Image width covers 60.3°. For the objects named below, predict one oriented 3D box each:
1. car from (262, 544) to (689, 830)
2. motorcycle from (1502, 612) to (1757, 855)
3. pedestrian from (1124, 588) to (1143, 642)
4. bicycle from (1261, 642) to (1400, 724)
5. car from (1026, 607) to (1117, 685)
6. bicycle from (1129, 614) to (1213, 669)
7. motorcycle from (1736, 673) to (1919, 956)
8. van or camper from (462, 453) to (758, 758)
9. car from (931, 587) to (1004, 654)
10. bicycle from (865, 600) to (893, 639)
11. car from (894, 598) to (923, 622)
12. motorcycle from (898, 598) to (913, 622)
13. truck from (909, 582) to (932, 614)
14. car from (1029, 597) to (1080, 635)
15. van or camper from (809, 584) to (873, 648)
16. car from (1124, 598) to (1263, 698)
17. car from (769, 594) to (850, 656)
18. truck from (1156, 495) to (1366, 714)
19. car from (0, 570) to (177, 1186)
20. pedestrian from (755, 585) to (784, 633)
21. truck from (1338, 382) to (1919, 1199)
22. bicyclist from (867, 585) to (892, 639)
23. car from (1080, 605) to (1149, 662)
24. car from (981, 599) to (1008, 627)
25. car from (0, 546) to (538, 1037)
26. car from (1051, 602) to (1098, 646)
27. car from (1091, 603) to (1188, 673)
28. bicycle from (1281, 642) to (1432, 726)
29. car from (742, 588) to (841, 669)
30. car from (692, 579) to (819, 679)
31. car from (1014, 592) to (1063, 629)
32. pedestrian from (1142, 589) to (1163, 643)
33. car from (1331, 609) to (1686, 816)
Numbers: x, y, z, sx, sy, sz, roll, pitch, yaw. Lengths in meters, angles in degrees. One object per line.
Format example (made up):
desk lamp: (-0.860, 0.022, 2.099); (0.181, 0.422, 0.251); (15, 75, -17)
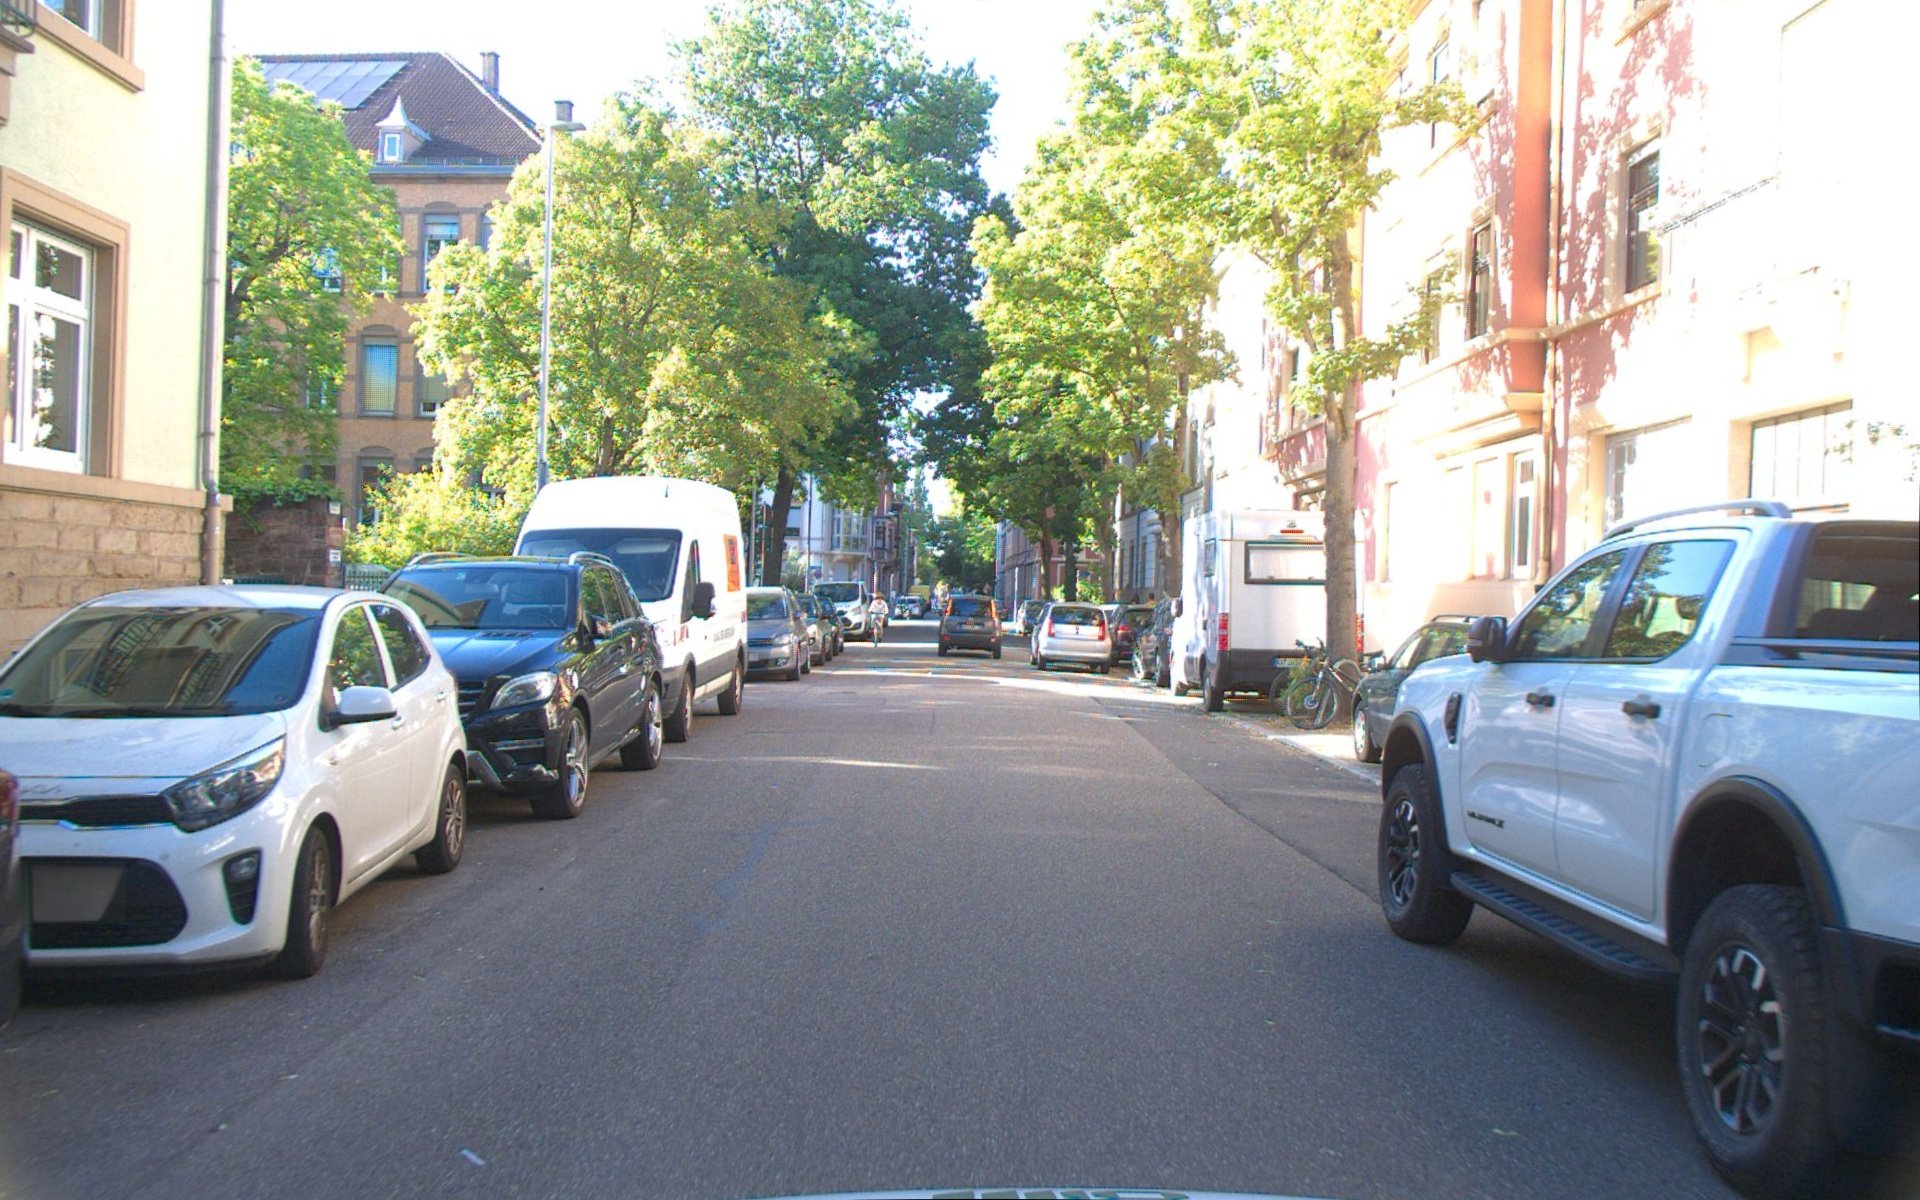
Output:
car: (-3.326, 0.512, 12.462); (1.837, 1.715, 4.968); (0, 0, -1)
motorcycle: (4.673, 0.871, 11.753); (0.911, 1.512, 2.138); (2, 0, 0)
pedestrian: (5.723, 0.484, 54.635); (0.509, 1.765, 0.878); (2, 0, 1)
bicycle: (4.984, 1.112, 22.292); (1.670, 1.017, 0.705); (2, 0, -7)
car: (2.483, 1.002, 37.533); (1.645, 1.571, 3.799); (3, 0, -1)
bicycle: (4.635, 0.900, 36.345); (1.774, 1.187, 0.569); (0, 0, -2)
motorcycle: (4.744, 1.033, 8.482); (1.748, 1.262, 0.692); (2, 0, -40)
van or camper: (-3.595, 0.044, 18.227); (2.085, 2.817, 5.850); (0, 0, -1)
car: (0.150, 0.481, 41.909); (1.600, 1.577, 3.262); (2, 0, -4)
bicycle: (-2.345, 0.558, 47.899); (0.651, 1.096, 1.685); (2, 0, 2)
car: (-3.363, 0.646, 108.571); (1.760, 1.457, 3.925); (-1, 0, 0)
motorcycle: (-3.468, 0.623, 105.273); (0.684, 1.486, 1.747); (1, 0, -10)
truck: (-3.798, -0.161, 161.183); (2.028, 2.977, 5.068); (-2, 0, 0)
car: (3.988, 0.640, 70.384); (1.579, 1.504, 3.866); (2, 0, -5)
van or camper: (-3.974, 0.525, 56.100); (1.883, 2.014, 5.460); (-1, 0, -2)
car: (4.480, 0.869, 32.482); (1.847, 1.746, 4.942); (2, 0, -2)
car: (-3.719, 0.589, 41.574); (1.679, 1.419, 4.778); (-2, 0, -2)
truck: (4.551, 0.051, 26.075); (2.031, 3.020, 6.107); (-1, 0, -1)
car: (-3.255, 0.691, 2.635); (1.730, 1.548, 4.824); (1, 0, -1)
pedestrian: (-6.590, 0.299, 57.120); (0.863, 1.604, 0.529); (2, 0, 0)
truck: (2.928, 0.550, 5.882); (1.791, 1.983, 5.540); (2, 0, 0)
bicyclist: (-2.330, 0.334, 47.936); (0.638, 1.535, 0.625); (2, 0, 1)
car: (4.355, 0.918, 47.105); (1.564, 1.514, 3.747); (1, 0, 0)
car: (2.187, 0.834, 106.182); (1.629, 1.698, 3.757); (3, 0, 0)
car: (-3.178, 0.631, 7.393); (1.602, 1.579, 4.087); (1, -1, -1)
car: (4.266, 0.877, 61.937); (1.489, 1.537, 3.543); (2, 0, 0)
car: (4.383, 0.896, 40.883); (1.750, 1.540, 4.458); (3, 0, -1)
bicycle: (5.025, 1.057, 21.008); (1.748, 0.965, 0.579); (2, 0, 1)
car: (-3.526, 0.560, 35.278); (1.642, 1.600, 4.151); (-1, 0, 0)
car: (-3.503, 0.459, 29.074); (1.744, 1.618, 4.468); (0, 0, -1)
car: (3.549, 0.451, 75.829); (1.753, 1.578, 4.407); (2, 0, -3)
pedestrian: (6.356, 0.519, 54.560); (0.583, 1.731, 0.689); (2, 0, 1)
car: (4.828, 0.896, 15.330); (1.715, 1.556, 4.781); (1, 0, 0)
